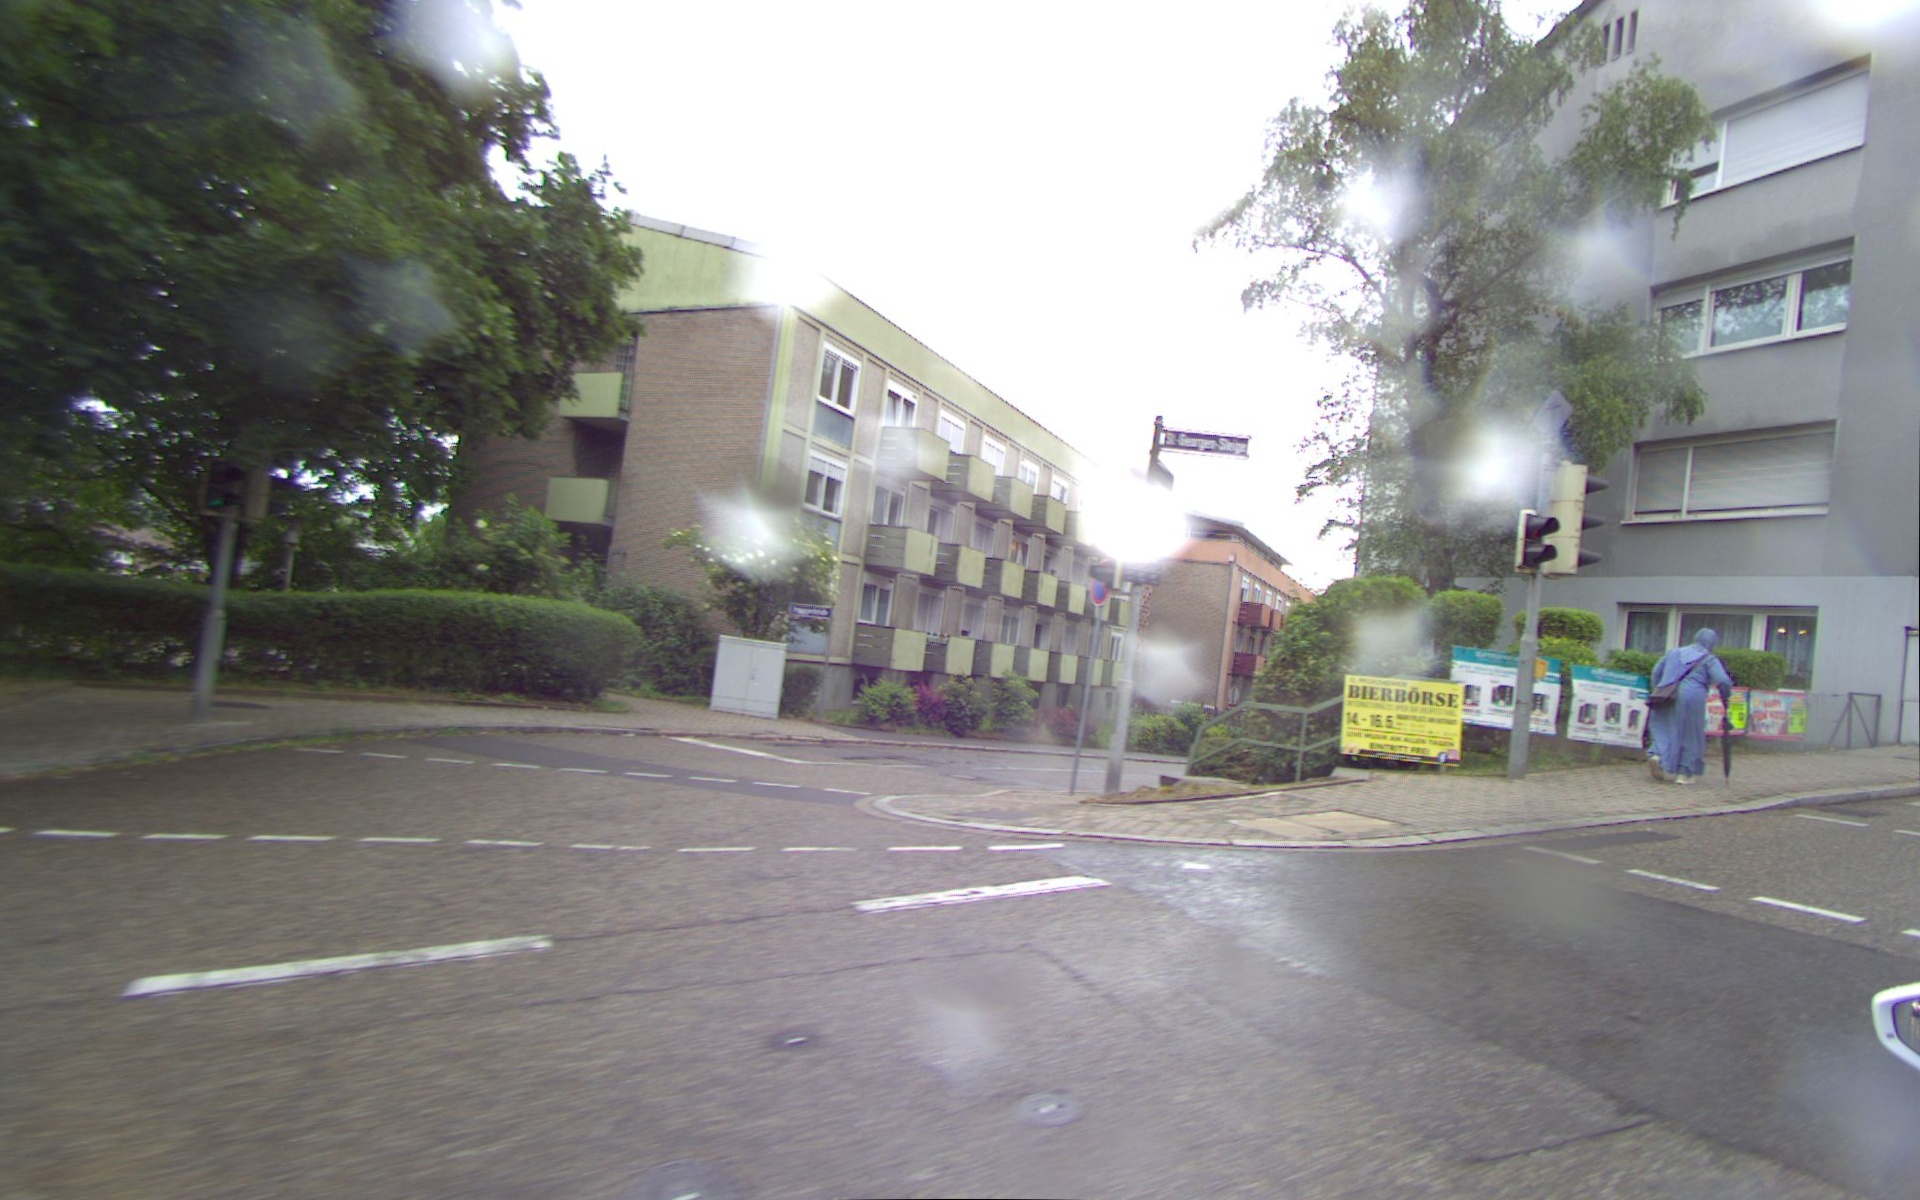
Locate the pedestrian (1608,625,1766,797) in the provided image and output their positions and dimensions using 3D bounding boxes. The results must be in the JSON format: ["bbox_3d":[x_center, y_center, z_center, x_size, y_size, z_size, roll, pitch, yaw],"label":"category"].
[{"bbox_3d":[7.328,1.068,10.135,1.074,1.562,0.865,0,3,-30],"label":"pedestrian"}]
